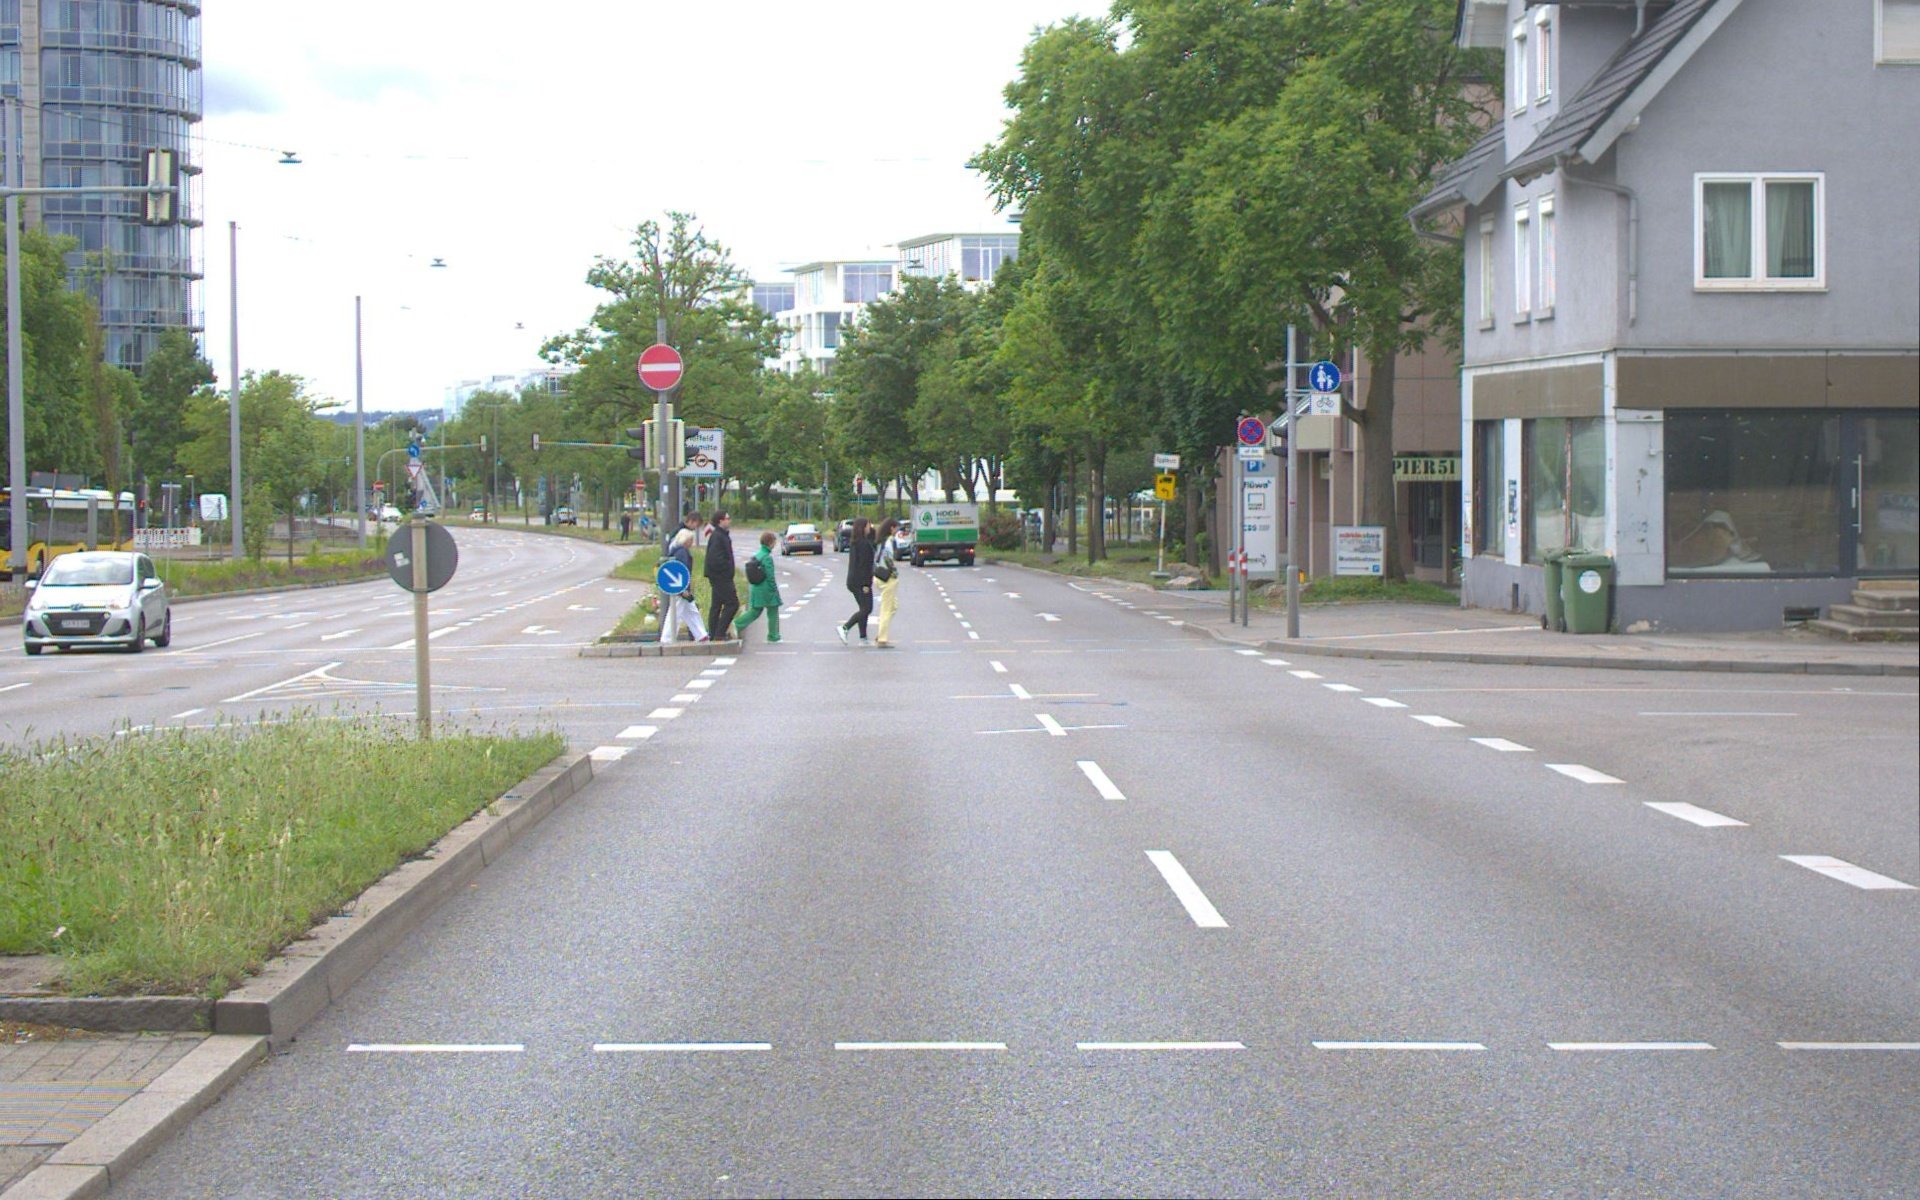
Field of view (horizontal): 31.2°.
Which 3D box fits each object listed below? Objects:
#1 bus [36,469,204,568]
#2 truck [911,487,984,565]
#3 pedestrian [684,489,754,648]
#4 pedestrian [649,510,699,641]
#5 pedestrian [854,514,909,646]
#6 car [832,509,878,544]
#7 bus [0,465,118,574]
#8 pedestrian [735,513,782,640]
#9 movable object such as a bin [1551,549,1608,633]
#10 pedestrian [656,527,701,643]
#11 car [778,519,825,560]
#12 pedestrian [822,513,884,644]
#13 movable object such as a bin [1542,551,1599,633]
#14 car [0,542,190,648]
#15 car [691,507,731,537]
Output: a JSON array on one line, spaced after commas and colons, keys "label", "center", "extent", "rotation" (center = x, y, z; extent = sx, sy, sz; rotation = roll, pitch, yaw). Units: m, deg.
[{"label": "bus", "center": [-30.373, -2.922, 124.826], "extent": [2.832, 3.419, 10.732], "rotation": [-1, 1, 3]}, {"label": "truck", "center": [-0.447, -2.665, 121.703], "extent": [2.470, 2.602, 6.548], "rotation": [1, 2, 0]}, {"label": "pedestrian", "center": [-3.075, -0.399, 43.806], "extent": [0.829, 2.007, 0.546], "rotation": [-1, 1, -7]}, {"label": "pedestrian", "center": [-3.770, -0.328, 45.302], "extent": [0.612, 1.710, 0.546], "rotation": [-1, 1, -7]}, {"label": "pedestrian", "center": [-1.028, -0.263, 44.730], "extent": [0.653, 1.710, 0.452], "rotation": [-1, 1, -7]}, {"label": "car", "center": [-4.801, -3.361, 157.714], "extent": [1.993, 1.546, 4.000], "rotation": [1, 1, -1]}, {"label": "bus", "center": [-30.986, -2.627, 114.087], "extent": [2.832, 3.419, 10.732], "rotation": [-1, 1, 3]}, {"label": "pedestrian", "center": [-2.731, -0.318, 46.625], "extent": [0.583, 1.710, 0.546], "rotation": [-1, 1, -7]}, {"label": "movable object such as a bin", "center": [7.914, -0.123, 43.922], "extent": [0.604, 1.056, 0.589], "rotation": [1, 1, 1]}, {"label": "pedestrian", "center": [-3.654, -0.197, 44.577], "extent": [0.543, 1.491, 0.487], "rotation": [-1, 1, -8]}, {"label": "car", "center": [-7.018, -2.689, 152.604], "extent": [1.993, 1.824, 4.000], "rotation": [0, 1, -1]}, {"label": "pedestrian", "center": [-1.414, -0.288, 45.238], "extent": [0.745, 1.710, 0.583], "rotation": [-1, 1, -7]}, {"label": "movable object such as a bin", "center": [7.898, -0.112, 44.473], "extent": [0.616, 1.039, 0.589], "rotation": [1, 1, 1]}, {"label": "car", "center": [-12.802, -0.107, 50.946], "extent": [1.993, 1.481, 4.000], "rotation": [-1, 1, -2]}, {"label": "car", "center": [-12.798, -3.988, 176.366], "extent": [1.993, 1.514, 4.001], "rotation": [-1, 1, -4]}]
